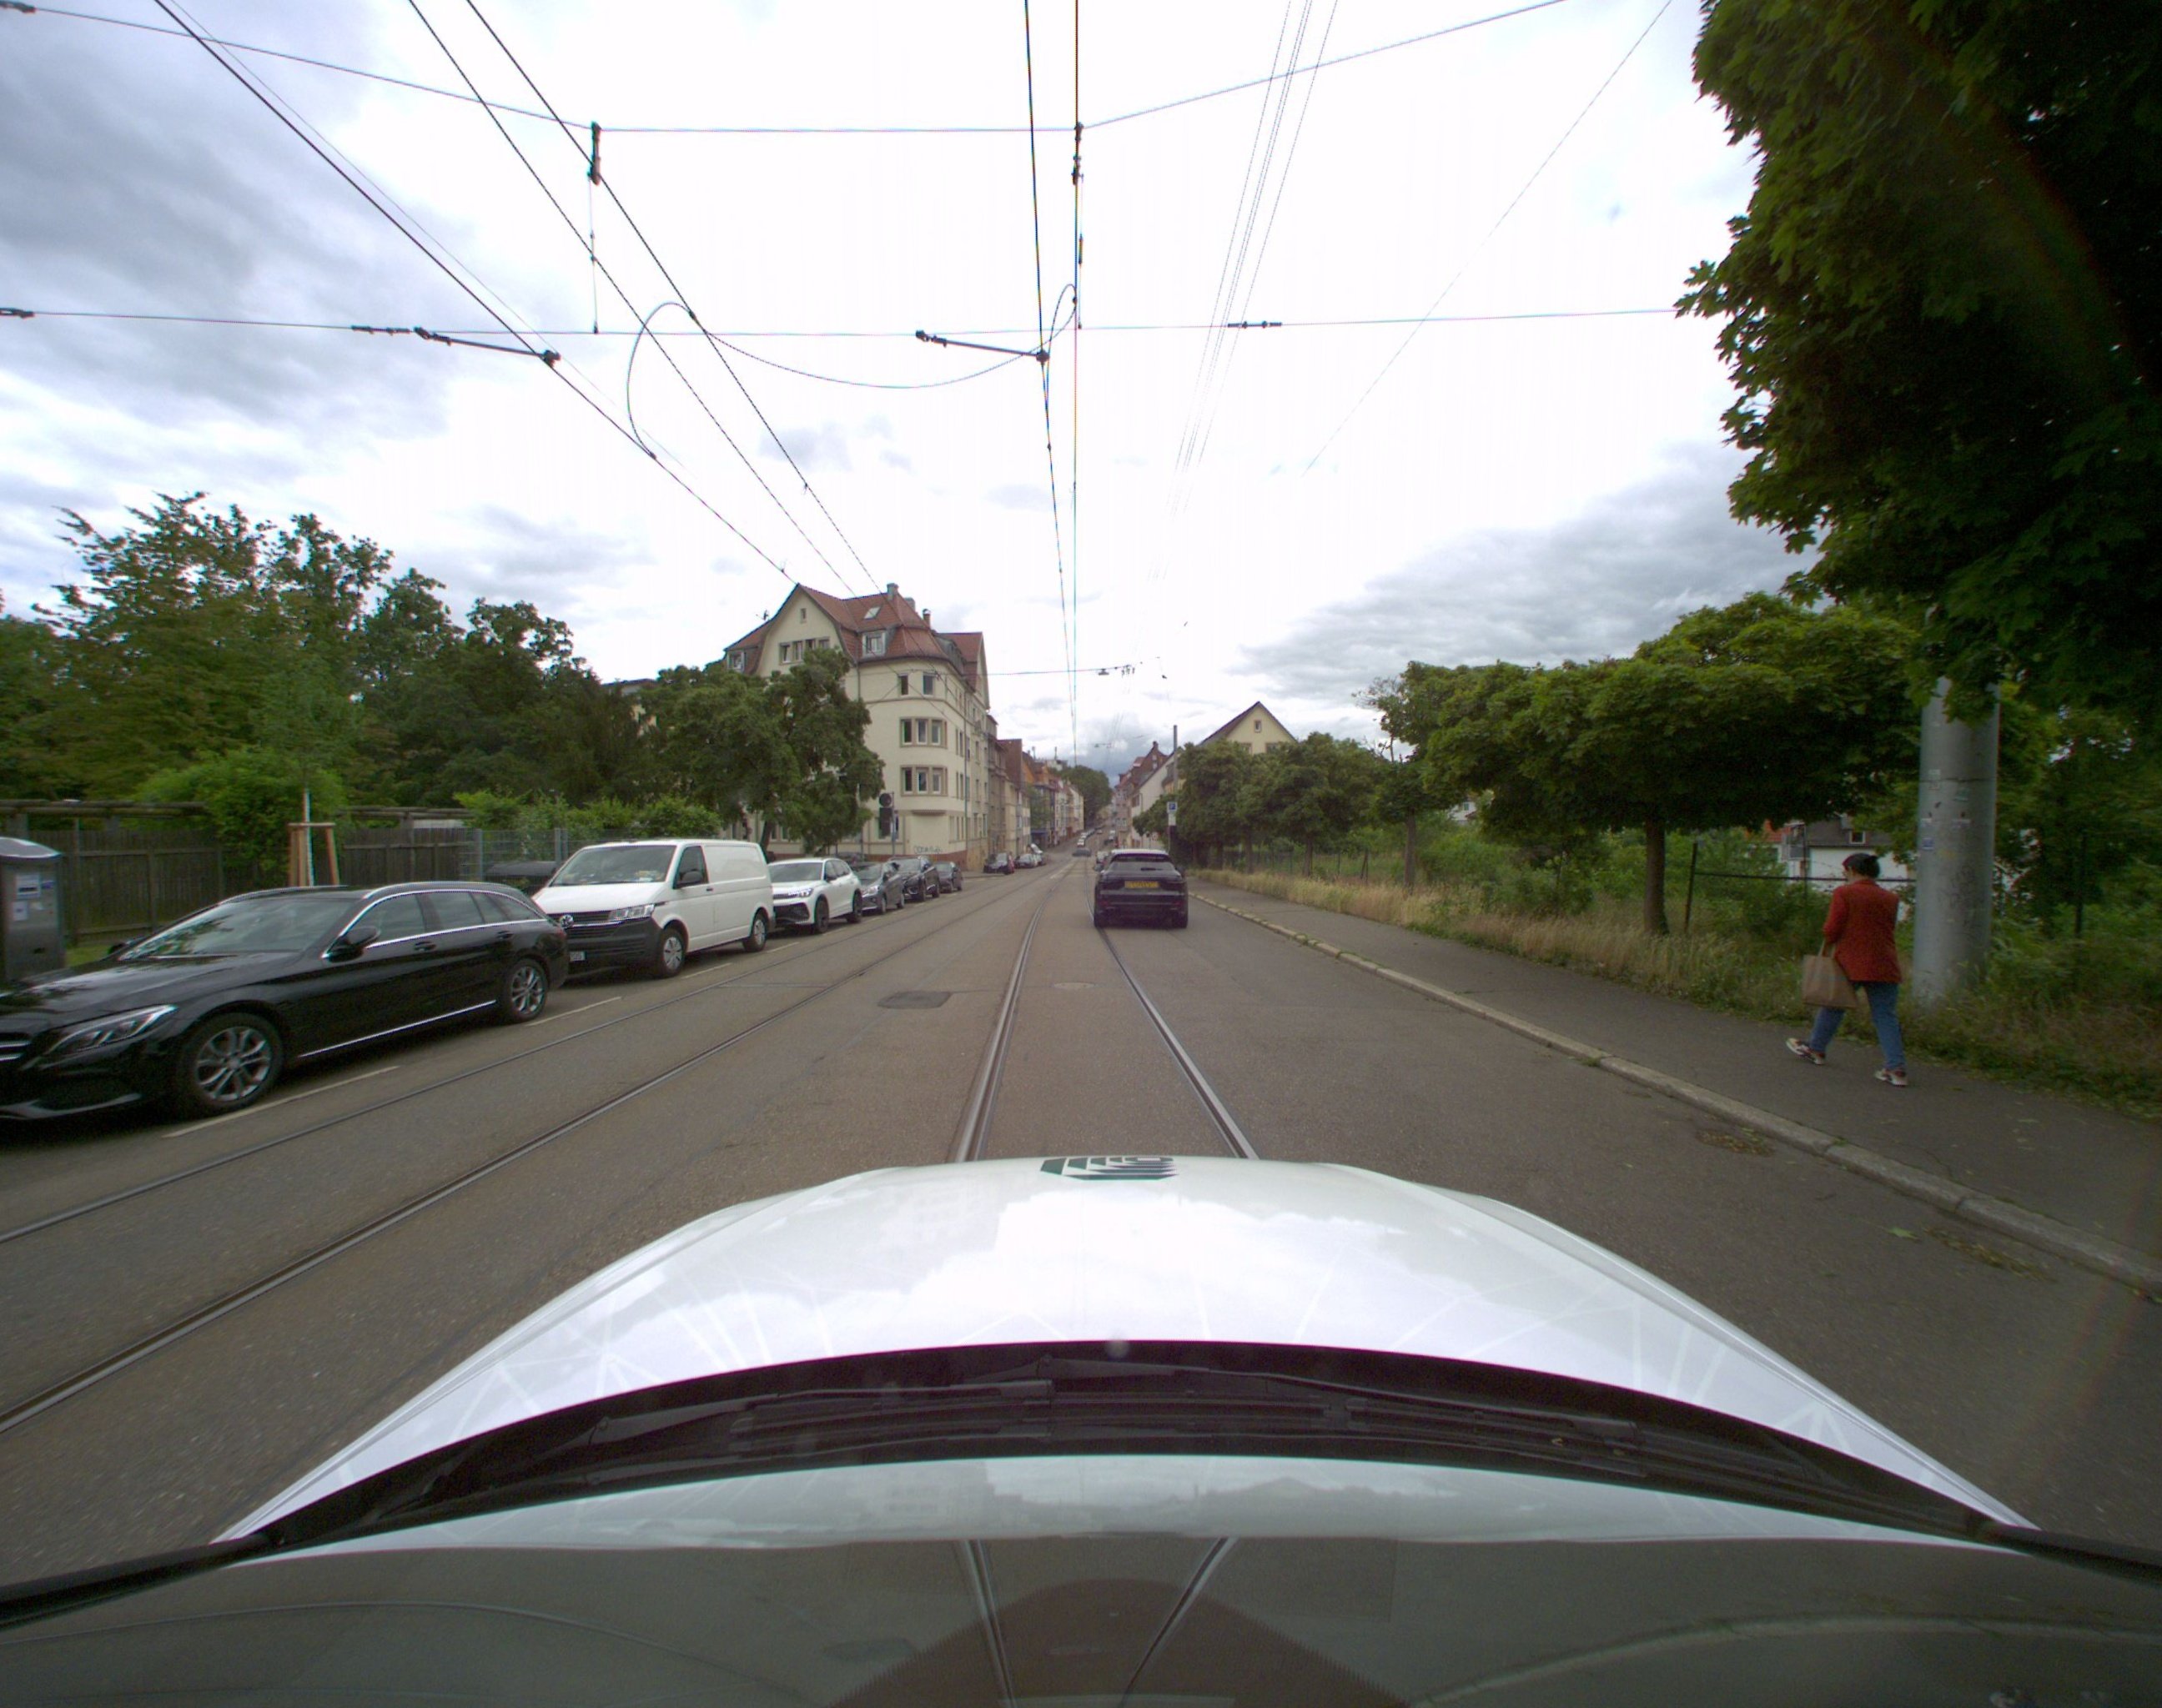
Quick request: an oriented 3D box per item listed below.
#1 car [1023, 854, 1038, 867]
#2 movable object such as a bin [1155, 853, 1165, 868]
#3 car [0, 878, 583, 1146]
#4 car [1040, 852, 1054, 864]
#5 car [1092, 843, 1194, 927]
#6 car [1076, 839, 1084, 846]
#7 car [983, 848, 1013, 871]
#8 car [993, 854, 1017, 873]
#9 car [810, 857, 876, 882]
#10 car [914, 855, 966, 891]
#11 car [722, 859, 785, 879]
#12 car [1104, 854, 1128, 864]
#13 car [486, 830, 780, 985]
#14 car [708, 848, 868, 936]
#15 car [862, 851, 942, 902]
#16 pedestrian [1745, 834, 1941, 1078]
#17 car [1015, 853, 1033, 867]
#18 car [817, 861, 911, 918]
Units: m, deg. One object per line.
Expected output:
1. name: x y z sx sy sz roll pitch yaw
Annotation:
1. car: -5.981 0.747 97.105 1.616 1.463 3.683 -1 -1 -1
2. movable object such as a bin: 6.796 0.550 69.974 0.790 1.218 0.788 0 0 -4
3. car: -6.403 0.951 6.728 1.834 1.387 4.516 -1 -1 -1
4. car: -4.410 0.540 105.488 1.616 1.473 4.554 -1 -1 -1
5. car: 1.267 0.629 18.278 1.987 1.676 4.000 0 0 0
6. car: -0.193 -2.797 202.948 1.745 1.760 4.255 0 0 1
7. car: -6.224 0.460 61.478 1.862 1.646 4.400 -1 -1 -1
8. car: -6.289 0.777 67.492 1.616 1.463 3.744 -1 -1 -1
9. car: -15.695 1.007 53.677 3.950 1.571 1.887 0 0 26
10. car: -6.276 0.841 36.591 1.616 1.477 4.154 -1 -1 -1
11. car: -22.968 1.043 57.113 3.950 1.354 1.887 0 0 26
12. car: 6.315 0.890 146.483 3.791 1.769 2.011 0 0 23
13. car: -6.530 0.707 12.647 1.963 1.913 4.733 -1 -1 -1
14. car: -6.365 0.773 18.324 1.963 1.686 4.631 -1 -1 -1
15. car: -6.435 0.790 29.734 1.963 1.686 4.442 -1 -1 -1
16. pedestrian: 5.372 0.681 5.791 0.712 1.621 0.718 0 0 0
17. car: -5.983 0.655 86.152 1.616 1.463 4.031 -1 -1 -1
18. car: -6.260 0.982 23.902 1.733 1.509 3.867 -1 -1 -1
